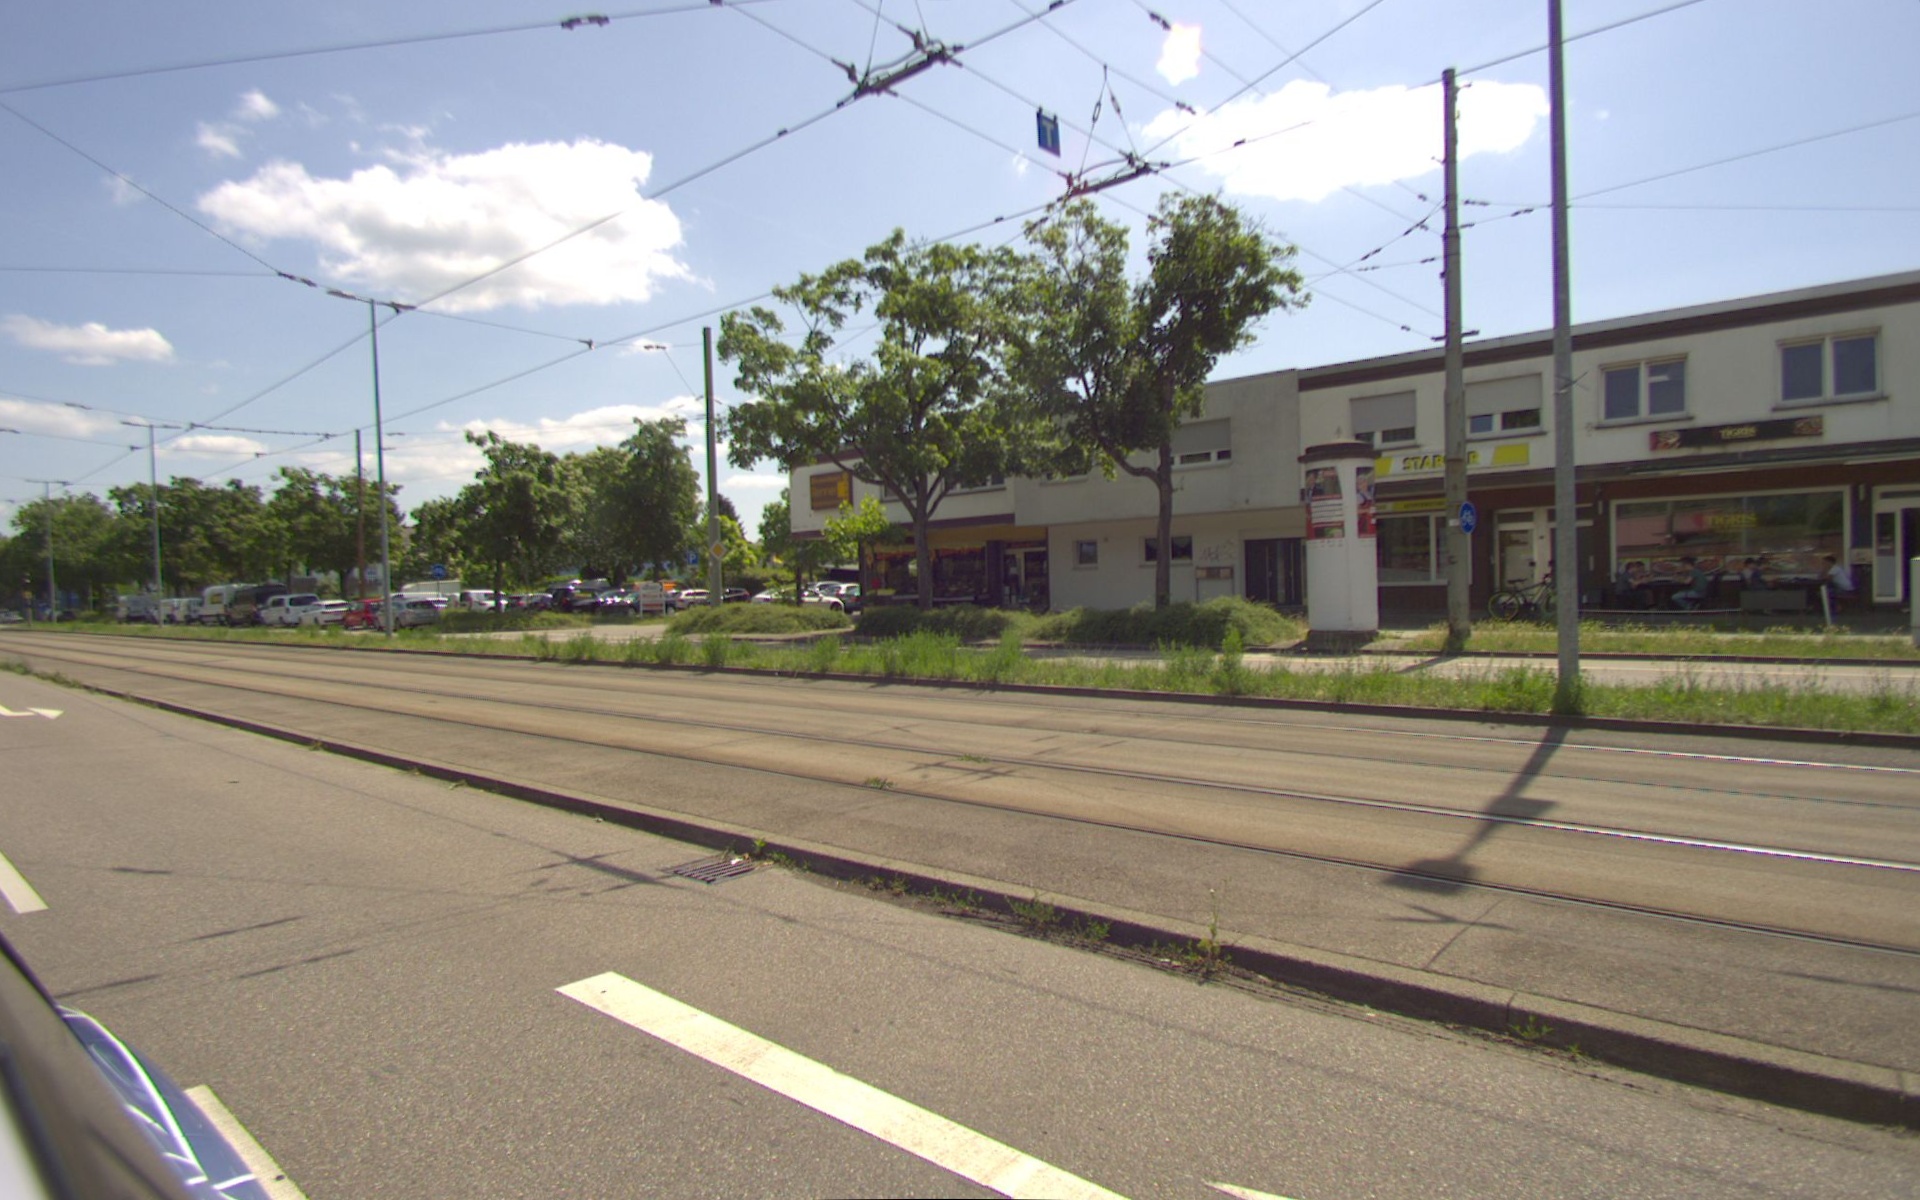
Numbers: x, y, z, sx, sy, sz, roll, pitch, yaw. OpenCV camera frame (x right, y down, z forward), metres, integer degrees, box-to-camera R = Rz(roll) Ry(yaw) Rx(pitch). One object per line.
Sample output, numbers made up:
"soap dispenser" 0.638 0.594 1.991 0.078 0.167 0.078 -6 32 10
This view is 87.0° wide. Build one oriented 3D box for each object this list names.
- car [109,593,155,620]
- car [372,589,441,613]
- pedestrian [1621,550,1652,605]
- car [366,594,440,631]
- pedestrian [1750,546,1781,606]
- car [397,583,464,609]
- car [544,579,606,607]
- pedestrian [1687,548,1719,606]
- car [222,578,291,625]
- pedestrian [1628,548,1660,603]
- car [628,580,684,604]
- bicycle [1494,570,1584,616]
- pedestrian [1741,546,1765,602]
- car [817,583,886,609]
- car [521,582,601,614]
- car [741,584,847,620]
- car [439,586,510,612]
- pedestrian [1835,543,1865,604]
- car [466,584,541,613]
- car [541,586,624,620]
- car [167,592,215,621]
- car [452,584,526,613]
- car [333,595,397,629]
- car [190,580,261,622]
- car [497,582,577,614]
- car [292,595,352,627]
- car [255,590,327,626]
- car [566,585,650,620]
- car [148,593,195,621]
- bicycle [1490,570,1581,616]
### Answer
"car" -70.520 0.510 86.128 4.484 2.116 2.047 0 4 39
"car" -41.292 0.065 75.516 1.802 1.749 4.146 0 0 41
"pedestrian" 15.812 -0.525 23.652 0.532 1.277 0.349 -1 1 41
"car" -26.442 0.565 48.010 4.549 1.551 1.560 0 4 42
"pedestrian" 17.571 -0.526 22.085 0.501 1.277 0.315 -1 1 41
"car" -54.187 -0.421 103.643 2.257 2.500 5.630 -1 1 37
"car" -32.069 -0.608 84.430 1.849 2.241 4.596 0 0 37
"pedestrian" 16.764 -0.518 22.837 0.528 1.277 0.340 -1 1 43
"car" -43.525 0.073 62.574 5.031 2.630 2.129 0 4 41
"pedestrian" 16.321 -0.578 24.147 0.580 1.277 0.348 -1 1 41
"car" -22.617 -0.618 75.305 1.758 1.749 3.700 0 0 37
"bicycle" 13.673 -0.157 23.928 1.801 1.049 0.394 -1 1 42
"pedestrian" 17.944 -0.588 22.899 0.400 1.255 0.382 -1 1 41
"car" -6.655 -0.263 62.190 1.906 1.412 3.944 -1 1 43
"car" -23.065 -0.121 58.638 1.802 1.749 3.946 0 0 41
"car" -7.378 0.069 45.363 1.906 1.445 4.426 -1 1 43
"car" -32.763 -0.079 68.298 1.802 1.749 3.946 0 0 41
"pedestrian" 19.113 -0.564 21.740 0.452 1.277 0.337 -1 1 43
"car" -29.006 -0.107 64.349 1.802 1.749 3.946 0 0 41
"car" -21.272 0.145 57.135 1.878 1.749 3.946 -1 1 41
"car" -56.147 0.432 73.885 4.646 1.953 1.772 0 4 41
"car" -30.772 -0.109 66.158 1.902 1.749 3.946 -1 1 41
"car" -30.314 0.591 51.545 3.644 1.551 1.485 0 4 38
"car" -49.562 0.057 68.195 6.699 2.630 2.129 0 4 40
"car" -25.103 -0.145 60.140 1.802 1.749 3.946 -1 1 41
"car" -34.197 0.555 54.214 4.358 1.551 1.484 0 4 42
"car" -38.940 0.452 58.854 4.885 1.851 2.129 0 4 41
"car" -19.202 0.097 55.310 1.802 1.749 3.946 -1 1 41
"car" -61.101 0.520 78.399 4.484 1.953 1.773 0 4 39
"bicycle" 13.401 -0.153 23.608 1.801 1.049 0.394 -1 1 42
